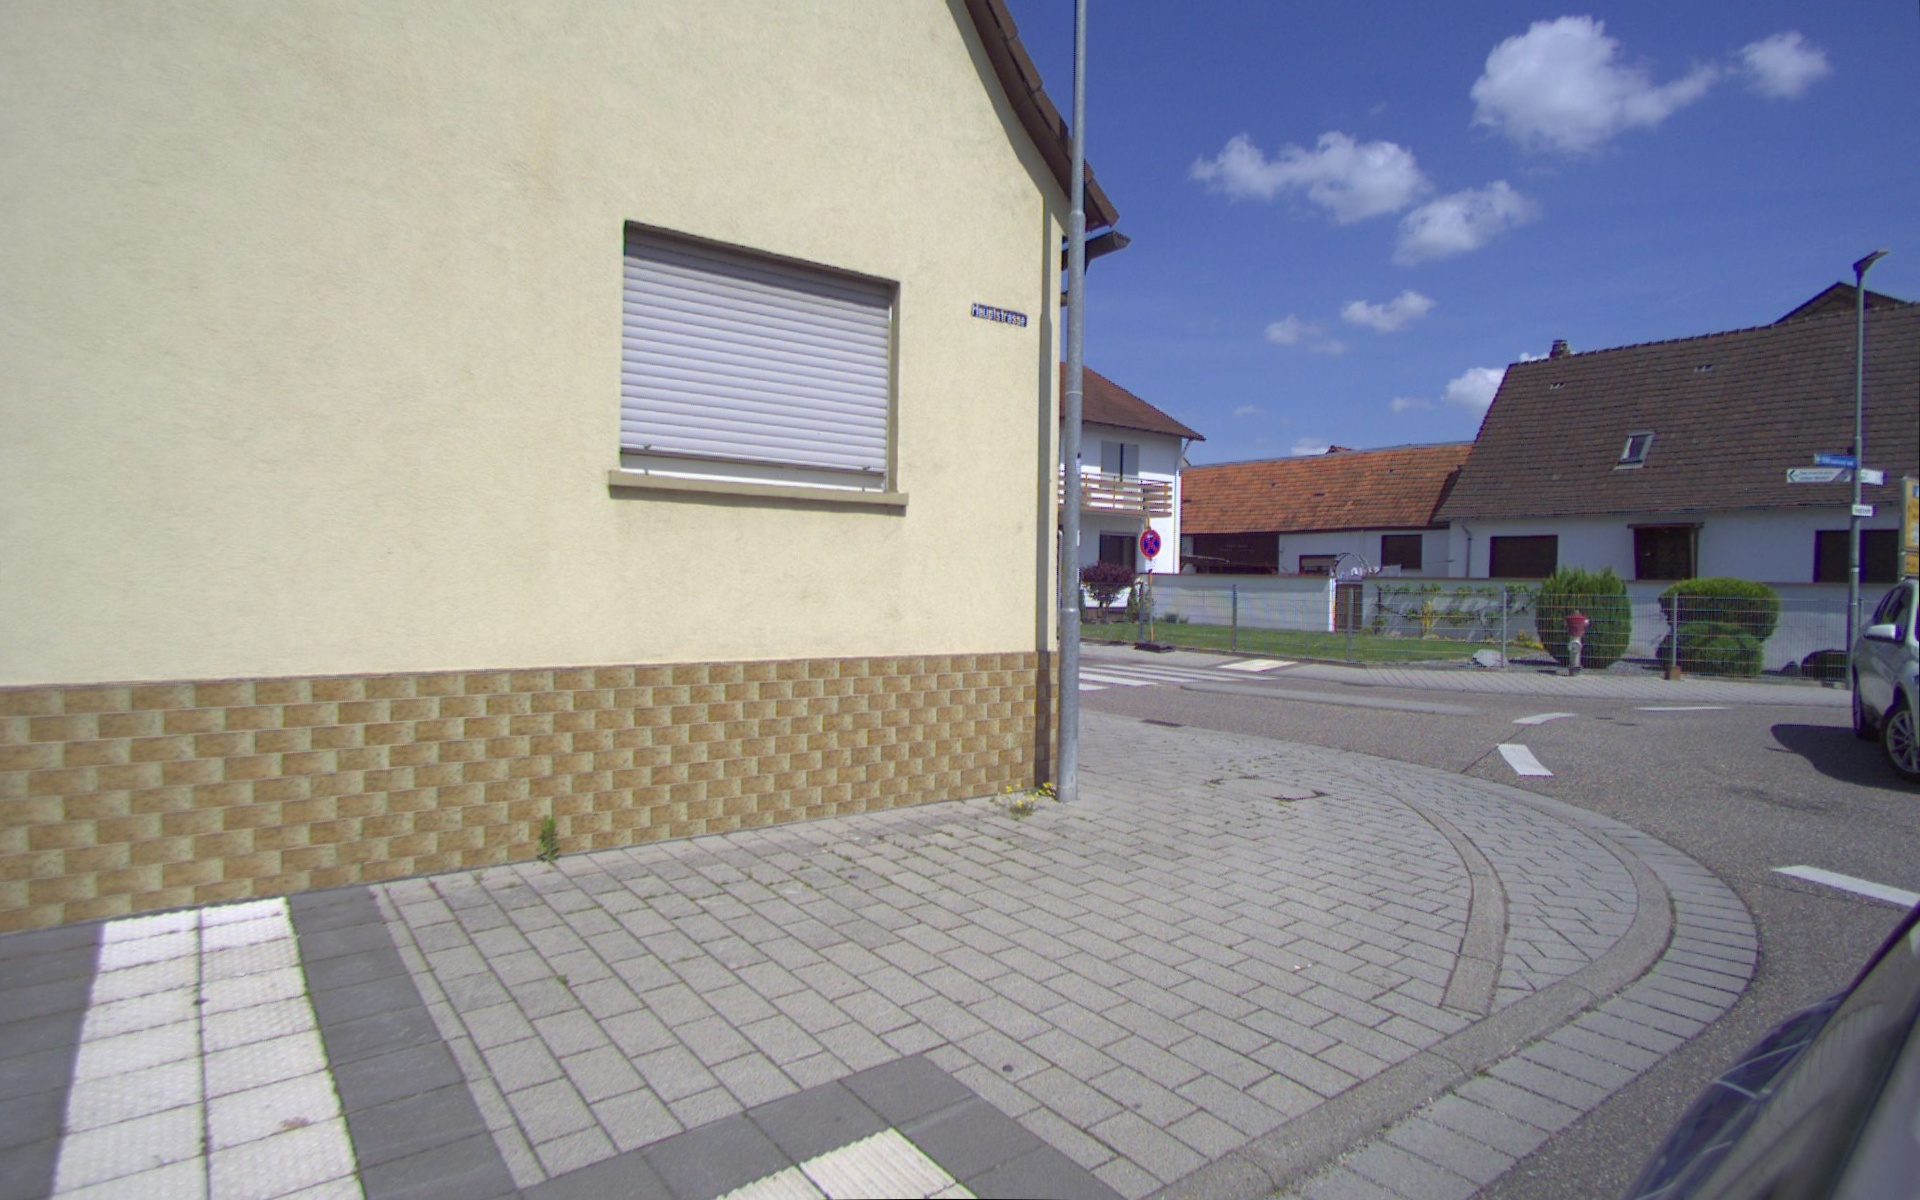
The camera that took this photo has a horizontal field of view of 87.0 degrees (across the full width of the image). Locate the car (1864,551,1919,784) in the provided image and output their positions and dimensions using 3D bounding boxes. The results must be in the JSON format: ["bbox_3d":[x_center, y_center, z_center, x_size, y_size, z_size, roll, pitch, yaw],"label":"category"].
[{"bbox_3d":[8.877,0.450,8.383,1.837,1.666,4.313,0,1,39],"label":"car"}]
